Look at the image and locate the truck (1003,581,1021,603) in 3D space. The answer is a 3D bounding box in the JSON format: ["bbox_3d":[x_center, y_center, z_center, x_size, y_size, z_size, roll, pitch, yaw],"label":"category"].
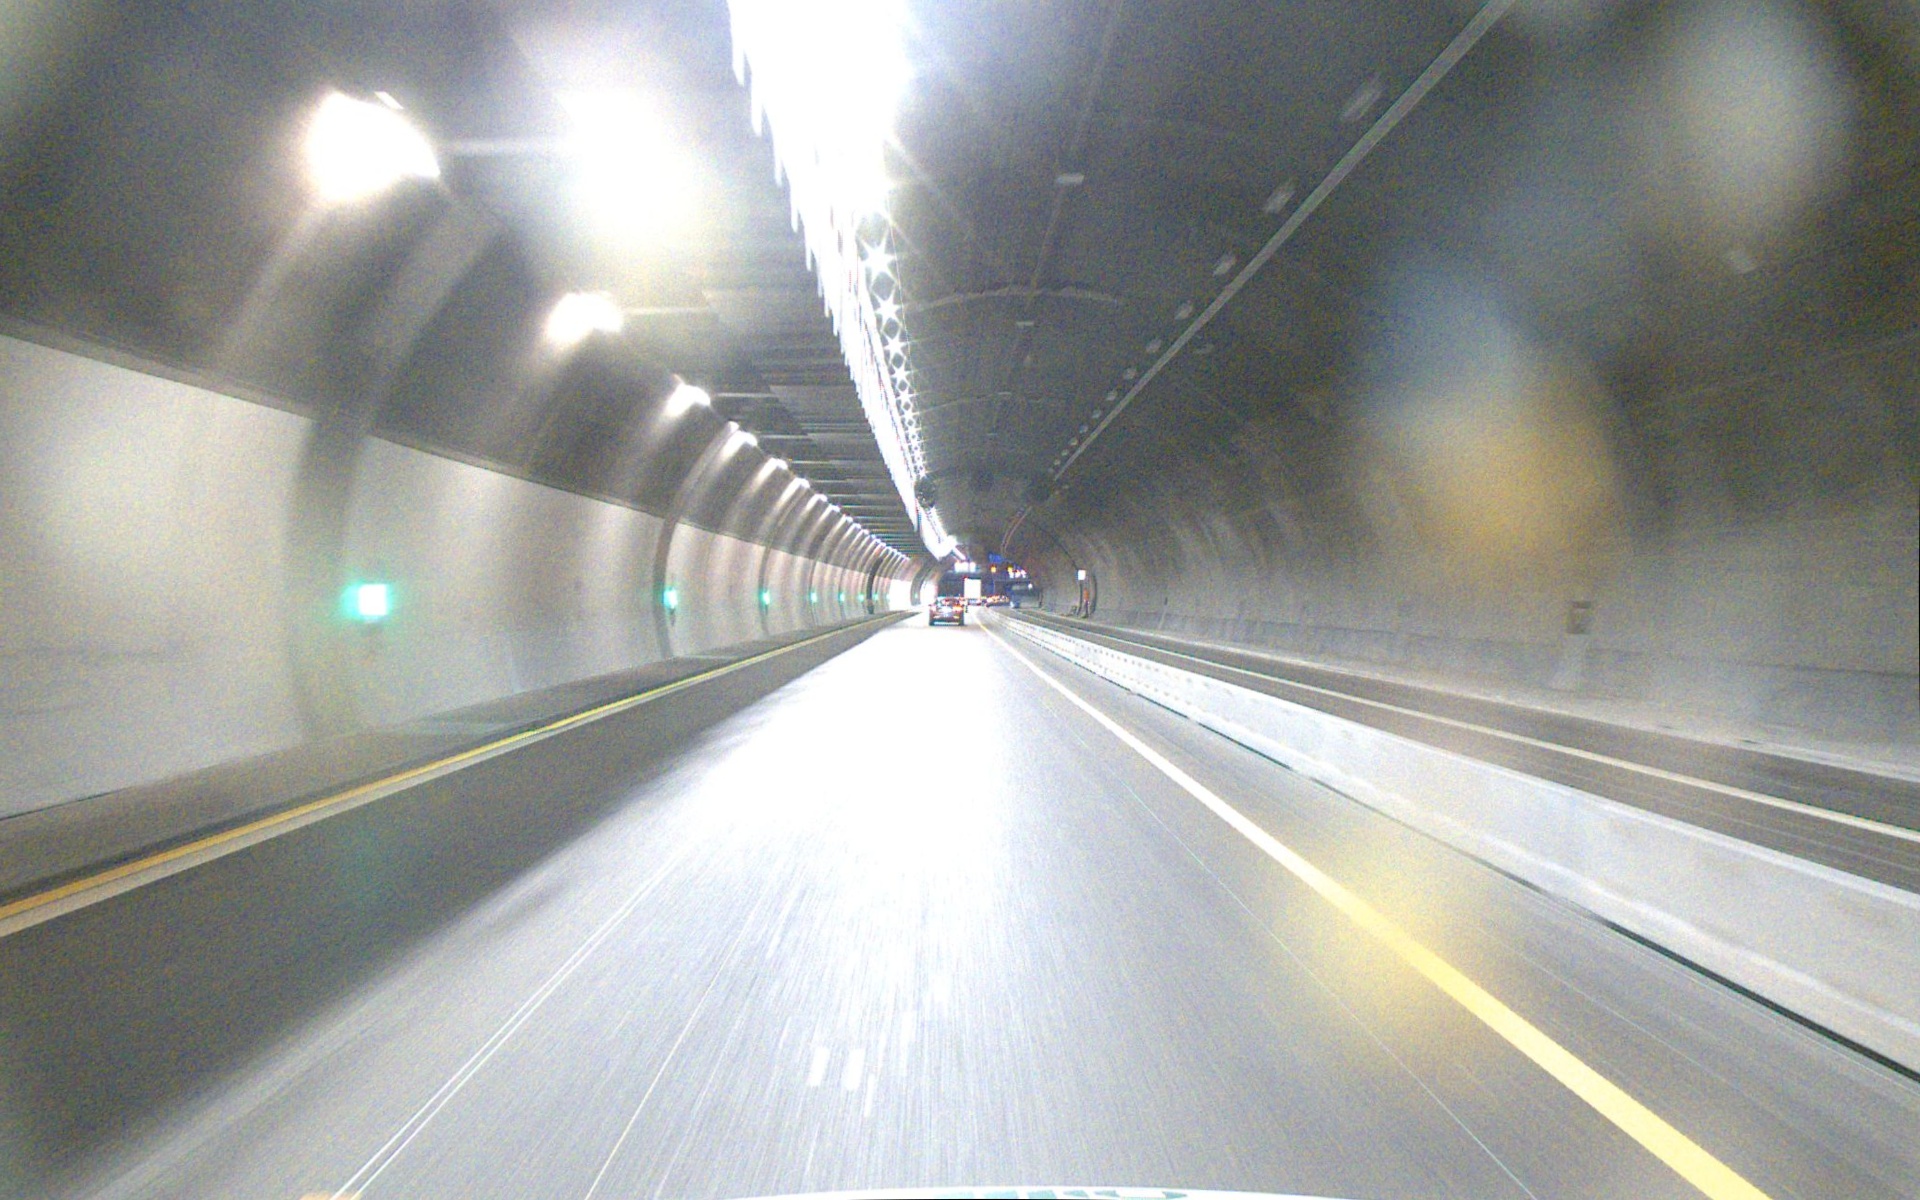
[{"bbox_3d":[8.218,-1.262,262.238,2.832,3.329,8.402,0,0,1],"label":"truck"}]

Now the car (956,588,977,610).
[{"bbox_3d":[0.600,-0.103,157.184,1.953,2.049,3.999,0,0,-1],"label":"car"}]

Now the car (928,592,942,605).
[{"bbox_3d":[-3.167,-0.200,211.456,1.790,1.635,3.999,0,0,-1],"label":"car"}]

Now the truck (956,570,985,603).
[{"bbox_3d":[1.643,-2.035,261.230,4.452,5.074,9.600,0,0,1],"label":"truck"}]

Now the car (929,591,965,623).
[{"bbox_3d":[-0.704,0.353,86.963,1.849,1.635,3.999,0,0,-1],"label":"car"}]
